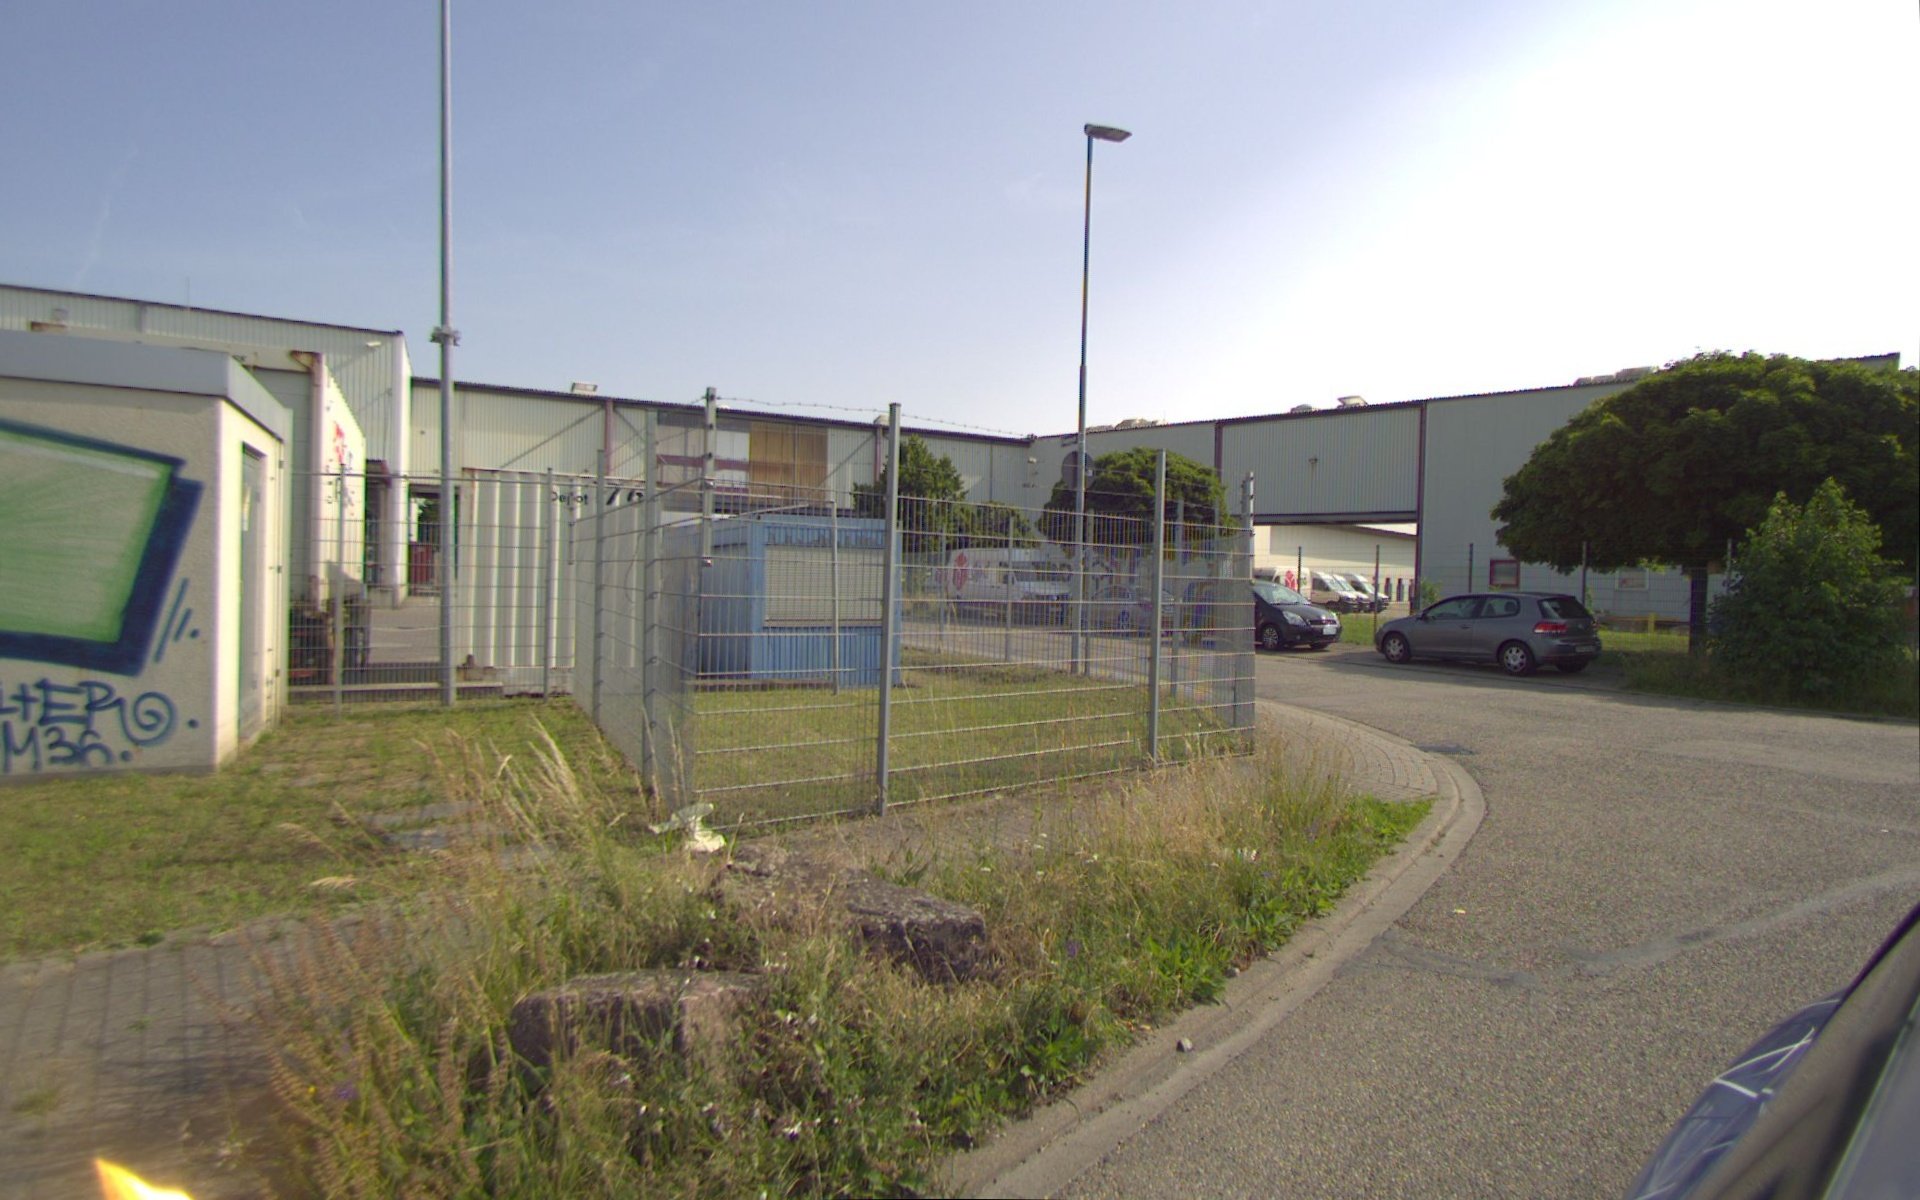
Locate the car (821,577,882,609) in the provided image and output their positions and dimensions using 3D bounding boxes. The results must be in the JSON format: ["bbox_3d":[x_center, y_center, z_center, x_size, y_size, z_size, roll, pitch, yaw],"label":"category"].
[{"bbox_3d":[-5.159,-0.360,47.686,1.692,1.404,3.792,1,1,-25],"label":"car"}]

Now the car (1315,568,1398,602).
[{"bbox_3d":[26.772,-1.036,68.517,1.899,2.110,4.838,0,2,-44],"label":"car"}]

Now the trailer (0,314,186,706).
[{"bbox_3d":[-12.830,-1.073,13.310,2.719,3.942,8.579,1,2,-28],"label":"trailer"}]

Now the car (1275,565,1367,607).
[{"bbox_3d":[21.717,-0.890,61.017,1.899,2.317,4.838,0,2,-44],"label":"car"}]

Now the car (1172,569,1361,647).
[{"bbox_3d":[7.211,0.125,24.262,1.839,1.646,4.276,2,1,-27],"label":"car"}]

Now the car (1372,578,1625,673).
[{"bbox_3d":[10.018,0.379,19.141,1.693,1.542,3.967,-2,2,-27],"label":"car"}]

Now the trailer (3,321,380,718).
[{"bbox_3d":[-10.178,-0.923,14.507,2.719,3.941,8.578,-1,2,-27],"label":"trailer"}]

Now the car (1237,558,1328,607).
[{"bbox_3d":[17.924,-0.962,55.988,2.167,2.548,6.597,2,2,43],"label":"car"}]

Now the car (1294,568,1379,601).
[{"bbox_3d":[24.714,-1.044,66.592,1.899,1.988,4.838,0,2,-44],"label":"car"}]

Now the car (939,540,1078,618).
[{"bbox_3d":[1.551,-0.791,36.357,2.162,2.514,6.862,-2,2,-23],"label":"car"}]

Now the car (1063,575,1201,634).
[{"bbox_3d":[4.865,0.057,29.283,1.692,1.536,4.501,-2,2,-25],"label":"car"}]
